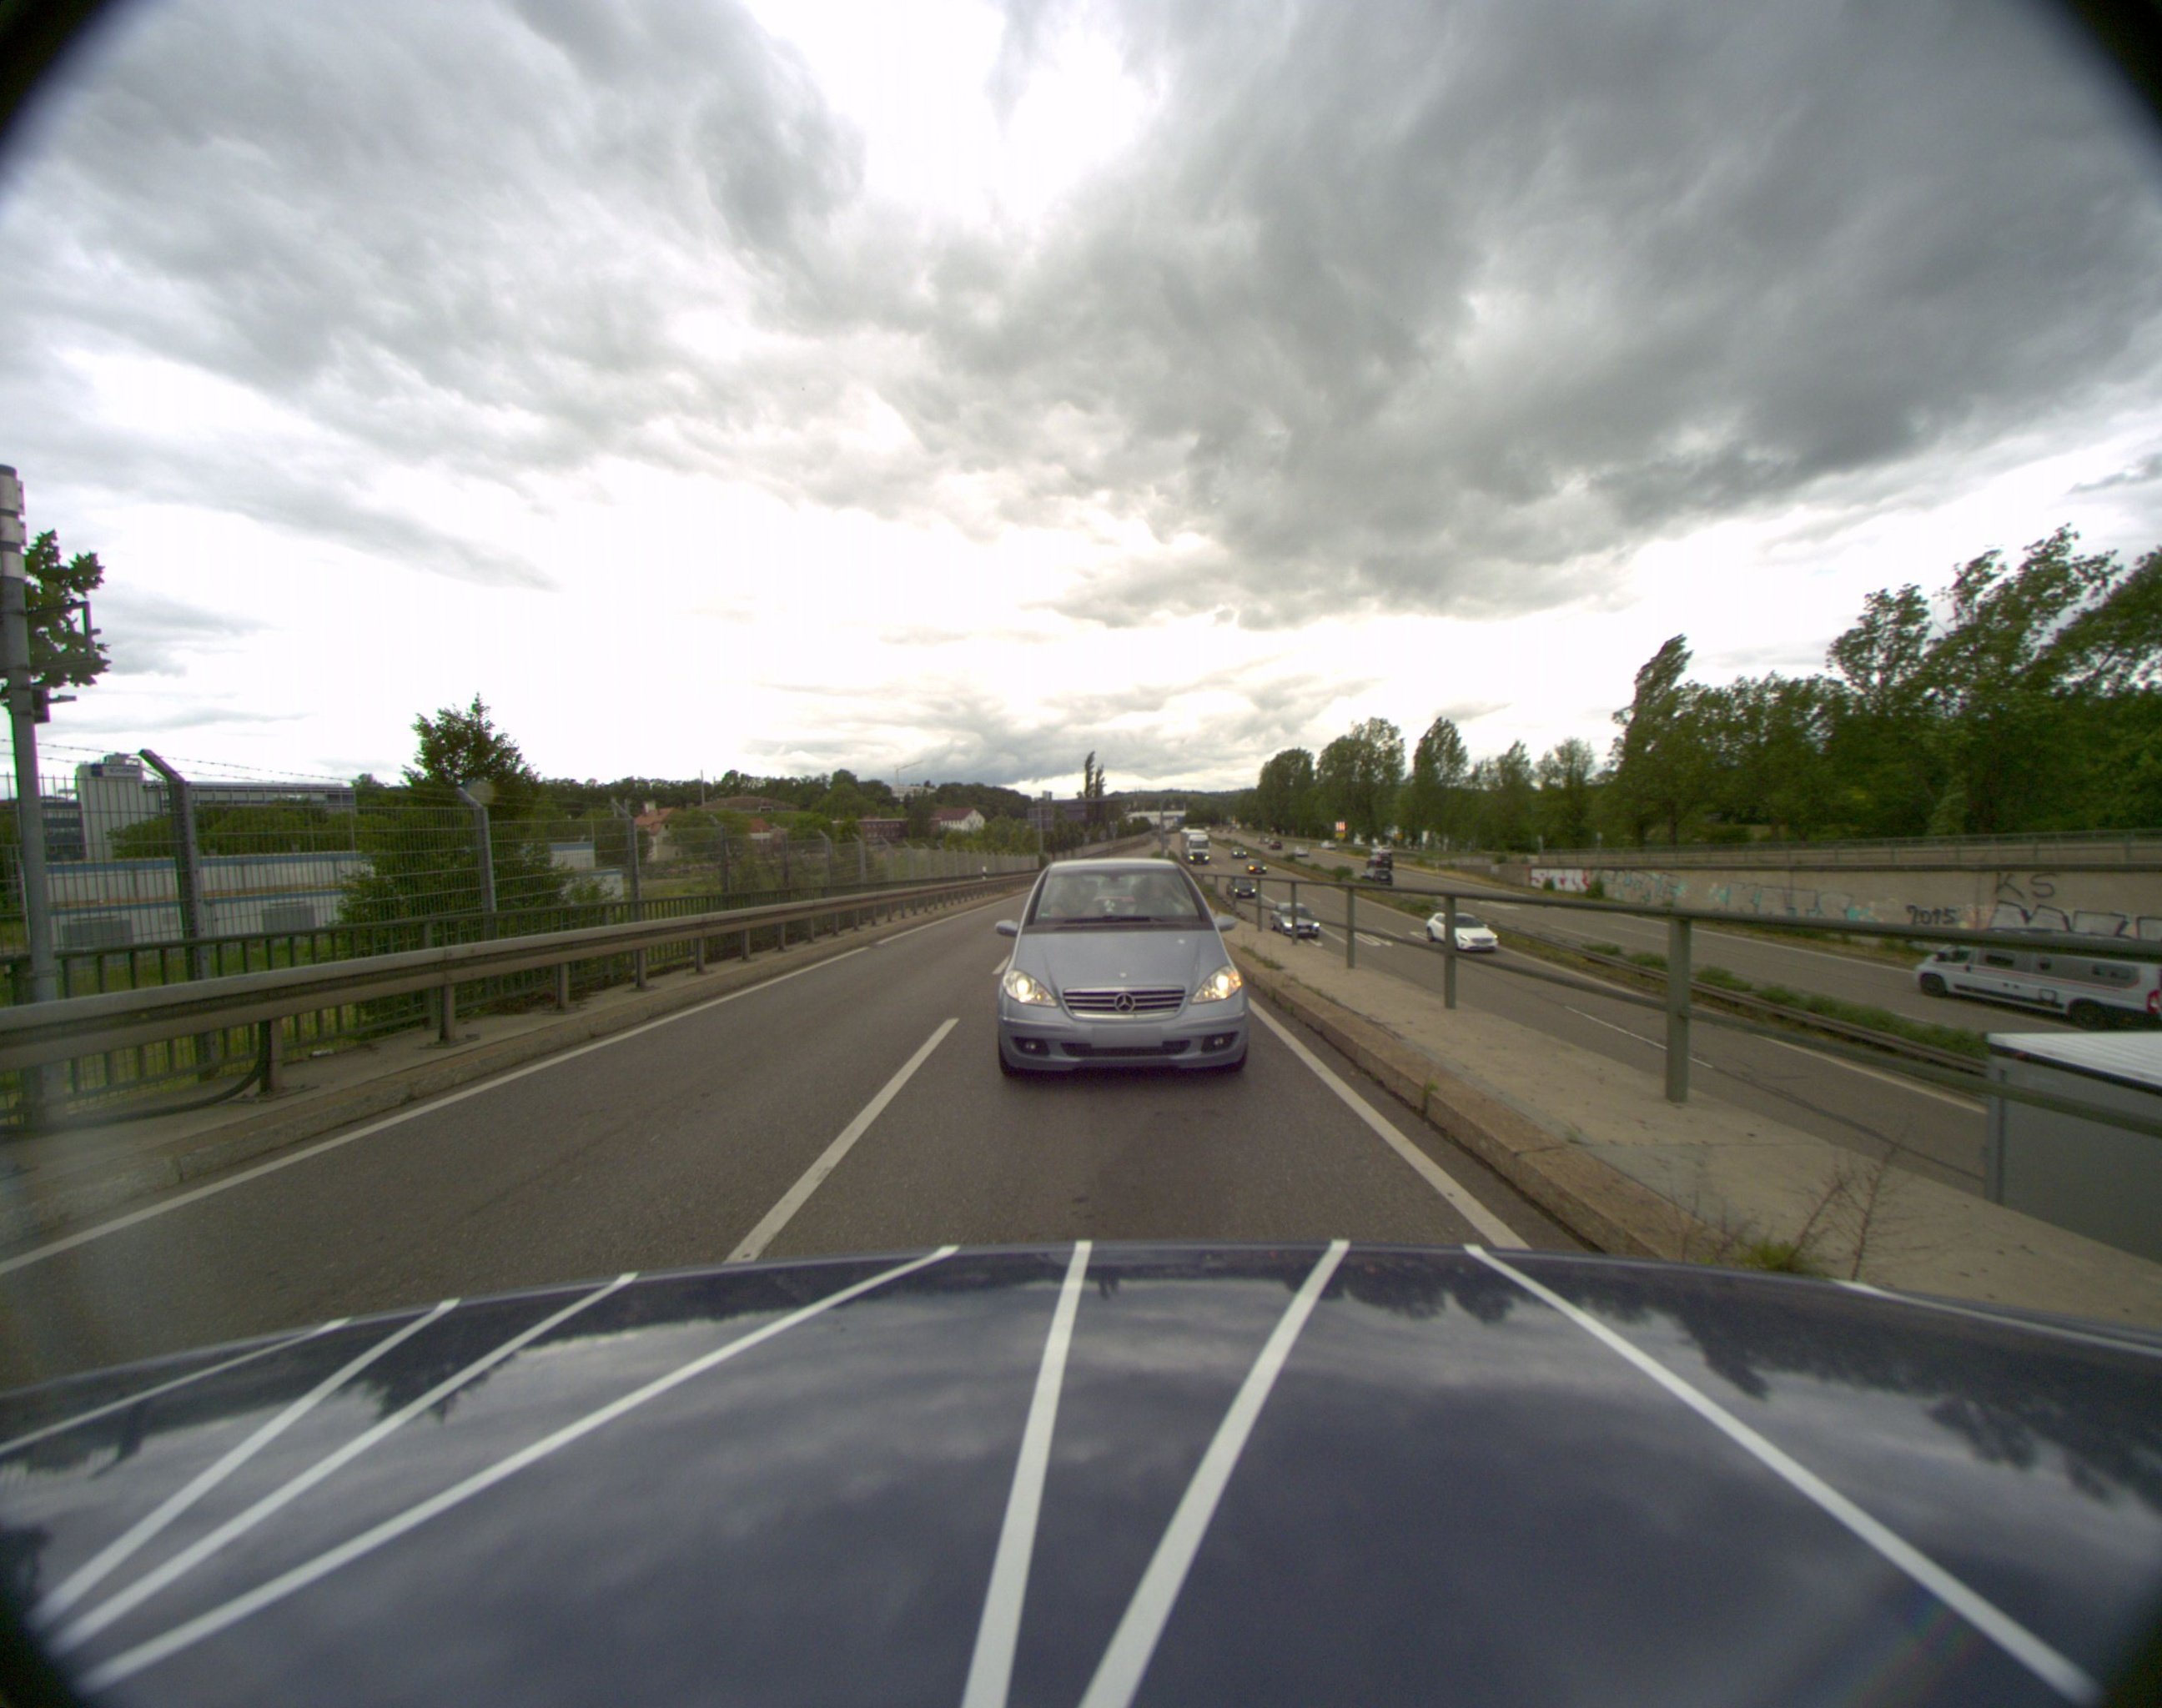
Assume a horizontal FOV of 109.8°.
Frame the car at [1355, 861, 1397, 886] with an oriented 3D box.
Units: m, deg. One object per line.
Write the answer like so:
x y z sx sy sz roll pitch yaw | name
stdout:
25.636 1.649 66.163 1.998 1.831 4.421 0 3 1 | car

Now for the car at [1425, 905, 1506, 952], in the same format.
18.064 3.454 35.911 1.858 1.598 4.164 0 3 2 | car

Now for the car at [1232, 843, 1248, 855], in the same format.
22.807 -0.746 109.093 1.857 1.598 4.166 -1 3 7 | car

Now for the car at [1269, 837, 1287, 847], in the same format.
35.091 -2.192 135.596 1.920 1.729 4.550 0 3 0 | car

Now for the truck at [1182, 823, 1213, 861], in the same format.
15.392 -1.692 101.162 3.179 4.501 11.121 -1 3 4 | truck

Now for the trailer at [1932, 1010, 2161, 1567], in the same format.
10.139 4.050 1.334 2.758 4.228 13.146 0 3 2 | trailer

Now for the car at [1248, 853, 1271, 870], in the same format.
19.081 0.807 81.399 1.858 1.598 4.165 0 3 4 | car

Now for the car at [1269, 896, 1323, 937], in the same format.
11.358 3.272 40.354 1.858 1.598 4.164 -1 3 2 | car

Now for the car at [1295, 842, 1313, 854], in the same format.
32.628 -0.861 111.334 1.732 1.520 4.086 0 3 4 | car

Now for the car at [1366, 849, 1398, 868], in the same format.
33.596 0.495 84.918 1.936 1.831 4.408 -1 3 1 | car

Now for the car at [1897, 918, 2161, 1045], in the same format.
29.473 3.638 23.206 2.088 2.520 6.325 -1 3 -2 | car

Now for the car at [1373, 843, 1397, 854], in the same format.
43.722 -0.778 109.369 1.837 1.567 4.347 -1 0 4 | car

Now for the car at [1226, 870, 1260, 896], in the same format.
12.550 2.204 59.028 1.858 1.598 4.164 -1 3 2 | car

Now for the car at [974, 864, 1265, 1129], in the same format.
0.326 0.928 6.764 1.780 1.578 4.001 -1 0 3 | car

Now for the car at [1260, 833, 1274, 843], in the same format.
41.038 -3.578 167.768 1.998 2.056 5.175 -1 3 2 | car

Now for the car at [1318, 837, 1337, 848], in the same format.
44.363 -2.030 136.782 1.998 1.859 4.213 -1 0 1 | car
